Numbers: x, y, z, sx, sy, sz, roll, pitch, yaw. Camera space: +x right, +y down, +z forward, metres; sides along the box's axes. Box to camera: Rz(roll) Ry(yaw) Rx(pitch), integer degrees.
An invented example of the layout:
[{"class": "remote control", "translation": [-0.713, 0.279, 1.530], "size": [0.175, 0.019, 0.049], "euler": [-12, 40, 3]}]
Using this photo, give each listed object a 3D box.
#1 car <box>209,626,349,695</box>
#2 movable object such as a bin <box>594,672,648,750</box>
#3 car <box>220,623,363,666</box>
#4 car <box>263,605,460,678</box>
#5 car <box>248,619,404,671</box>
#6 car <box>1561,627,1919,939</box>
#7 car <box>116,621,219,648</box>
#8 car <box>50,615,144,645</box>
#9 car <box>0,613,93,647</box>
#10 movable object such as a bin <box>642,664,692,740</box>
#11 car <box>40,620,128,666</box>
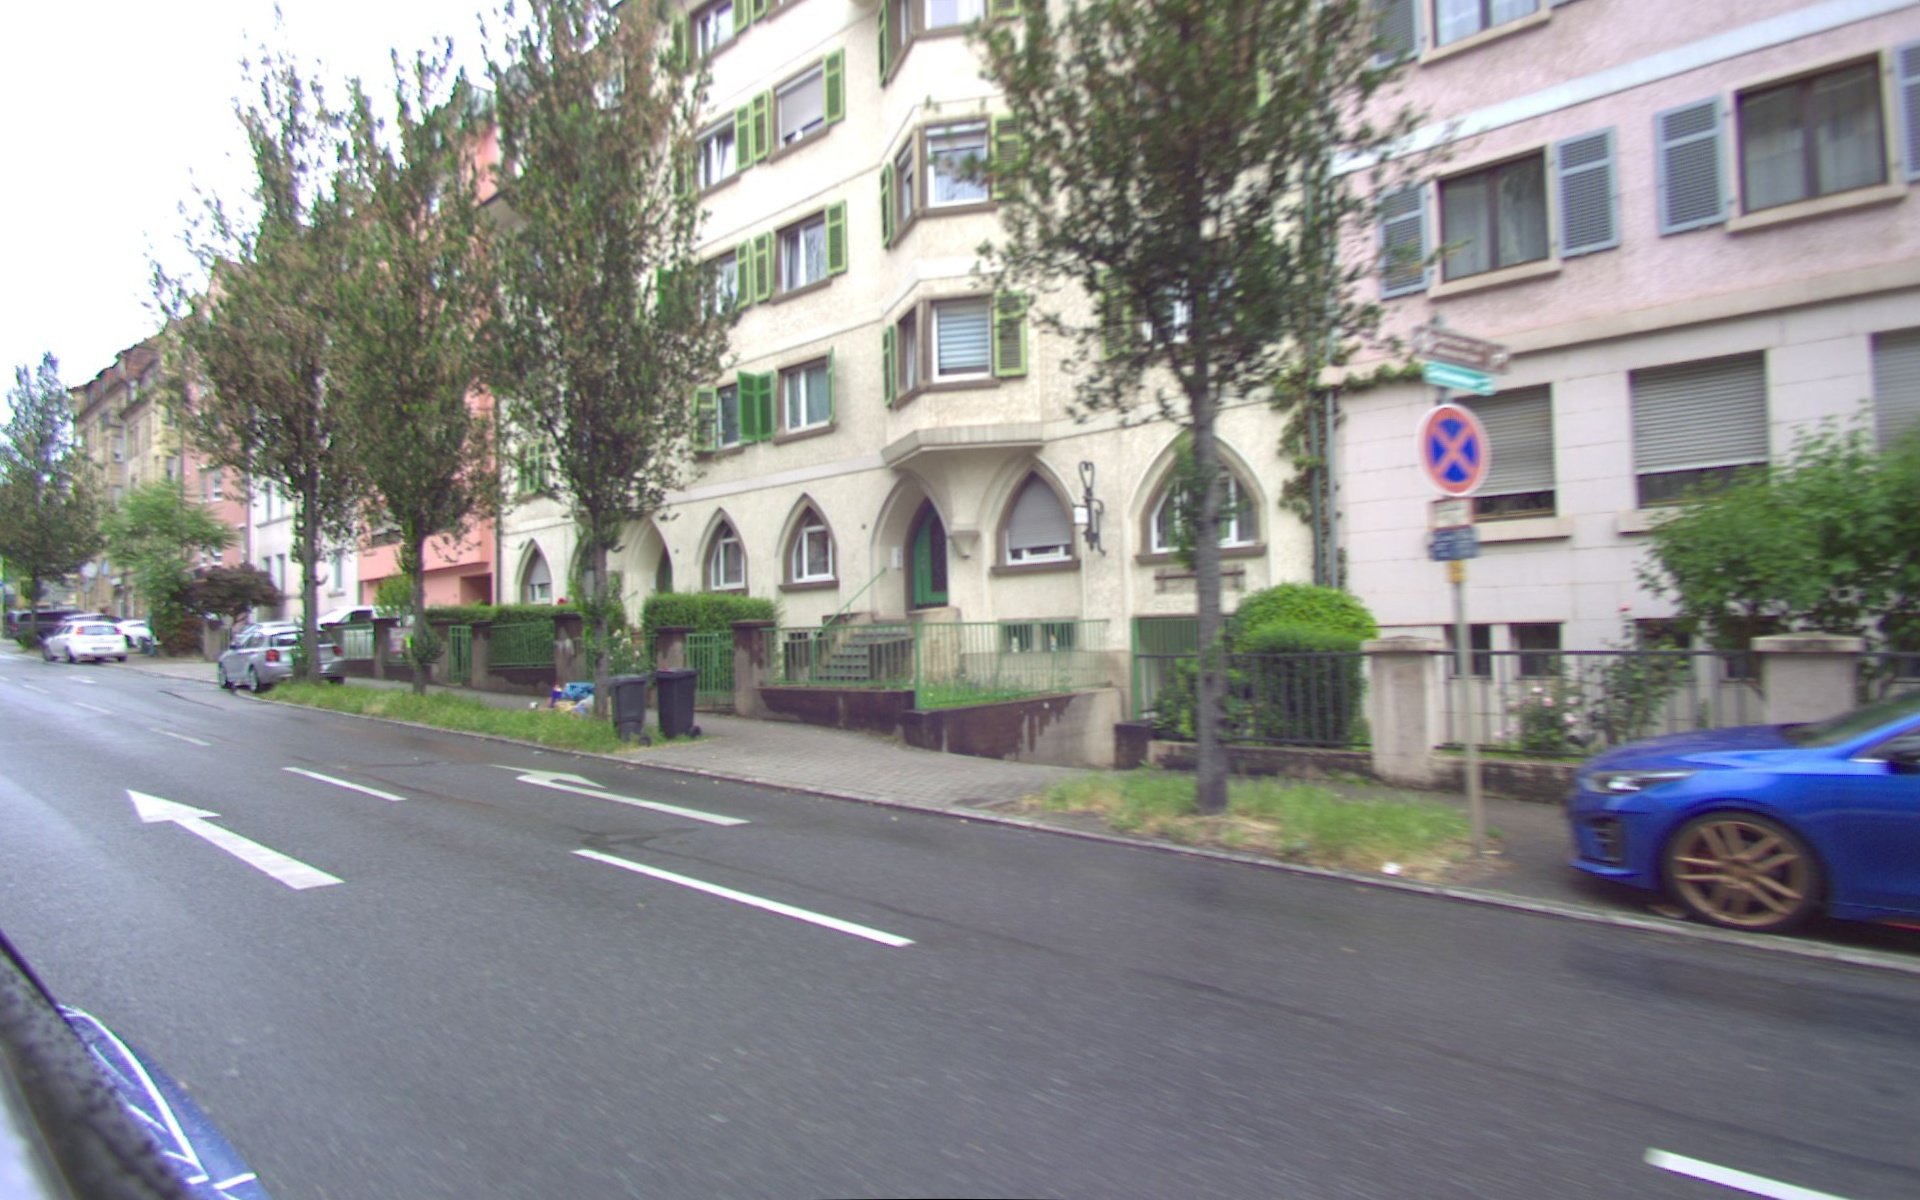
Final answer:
[{"class": "car", "translation": [-15.928, 1.345, 23.594], "size": [4.135, 1.428, 1.664], "euler": [-1, -2, 41]}, {"class": "movable object such as a bin", "translation": [-4.219, 1.367, 12.593], "size": [0.572, 0.896, 0.360], "euler": [-1, 1, 40]}, {"class": "car", "translation": [-23.672, 1.531, 35.961], "size": [1.721, 1.408, 3.886], "euler": [0, -1, 34]}, {"class": "car", "translation": [-17.653, 1.147, 30.072], "size": [1.916, 1.919, 4.674], "euler": [0, 1, 38]}, {"class": "car", "translation": [-20.137, 1.382, 32.269], "size": [1.757, 1.408, 3.882], "euler": [0, 1, 38]}, {"class": "car", "translation": [5.619, 0.877, 4.771], "size": [4.599, 1.396, 1.662], "euler": [0, -1, 40]}, {"class": "car", "translation": [-40.211, 1.715, 51.388], "size": [1.645, 1.307, 3.878], "euler": [0, -1, 41]}, {"class": "car", "translation": [-49.251, 1.689, 57.807], "size": [1.592, 1.634, 3.878], "euler": [0, -1, 41]}, {"class": "car", "translation": [-52.071, 1.689, 57.564], "size": [1.865, 1.861, 3.882], "euler": [0, -1, 38]}, {"class": "movable object such as a bin", "translation": [-3.843, 1.326, 13.282], "size": [0.572, 0.918, 0.360], "euler": [0, 1, 40]}, {"class": "car", "translation": [-31.722, 1.512, 36.620], "size": [3.646, 1.483, 1.650], "euler": [0, 1, 37]}]
